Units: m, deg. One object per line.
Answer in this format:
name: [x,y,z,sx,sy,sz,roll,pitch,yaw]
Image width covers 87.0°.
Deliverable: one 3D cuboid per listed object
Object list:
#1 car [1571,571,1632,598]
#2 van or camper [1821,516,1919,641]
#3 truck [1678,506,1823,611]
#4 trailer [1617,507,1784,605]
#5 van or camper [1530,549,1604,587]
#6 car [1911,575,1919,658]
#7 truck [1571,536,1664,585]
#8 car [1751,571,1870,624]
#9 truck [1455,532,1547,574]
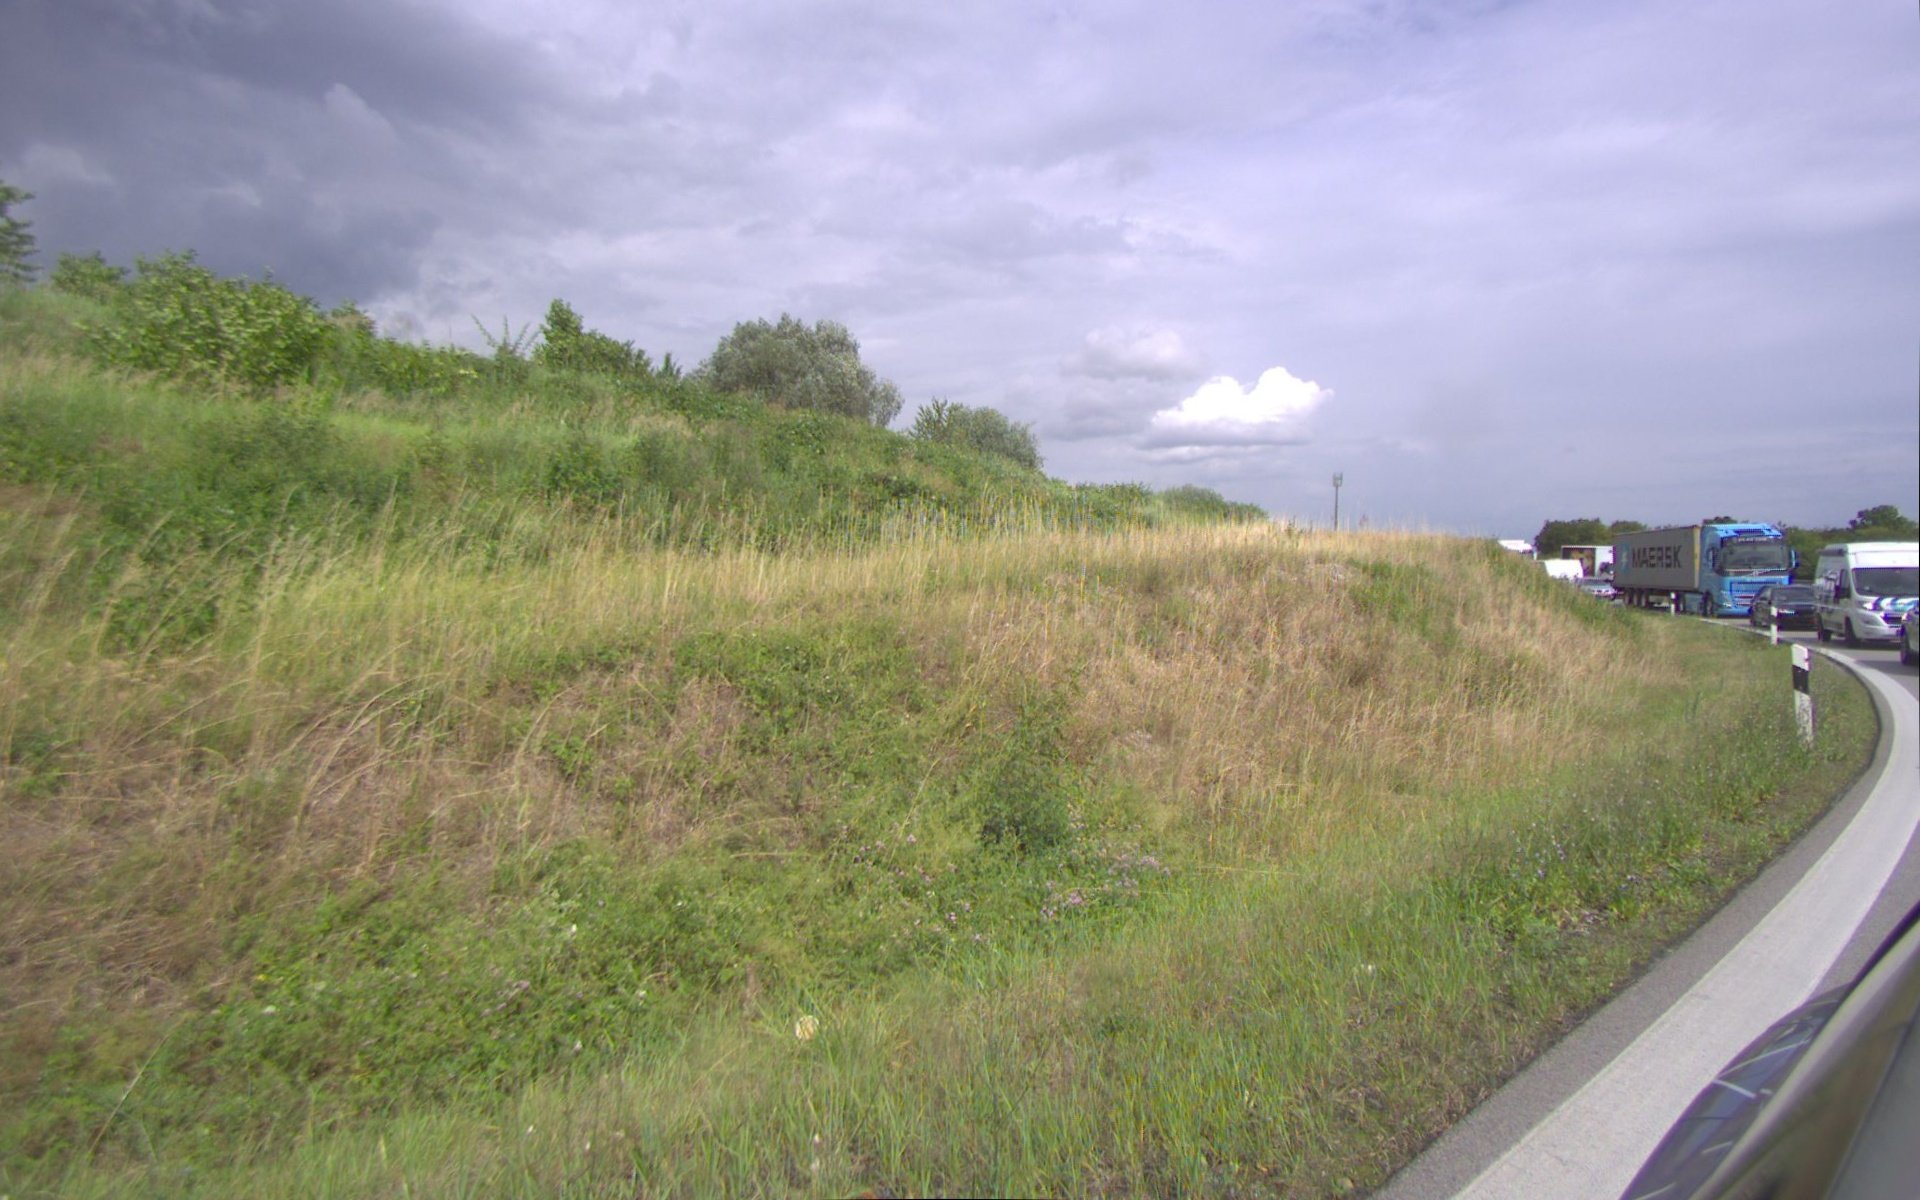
car: [39.229,-0.973,61.975,1.970,1.548,3.985,0,3,14]
van or camper: [24.248,-0.553,26.043,2.381,2.945,5.655,0,1,32]
truck: [33.792,-1.686,43.622,3.143,4.124,6.599,0,1,22]
trailer: [36.069,-1.999,49.988,3.234,4.213,11.943,0,1,19]
van or camper: [40.516,-2.209,67.749,2.514,2.237,5.696,-1,4,12]
car: [18.864,0.375,18.376,1.834,1.615,4.118,2,2,37]
truck: [52.541,-3.128,81.157,2.845,3.631,8.925,0,2,9]
car: [28.474,-0.145,34.027,1.978,1.638,3.969,1,2,24]
truck: [44.133,-3.765,83.026,3.074,3.279,11.135,0,2,9]
